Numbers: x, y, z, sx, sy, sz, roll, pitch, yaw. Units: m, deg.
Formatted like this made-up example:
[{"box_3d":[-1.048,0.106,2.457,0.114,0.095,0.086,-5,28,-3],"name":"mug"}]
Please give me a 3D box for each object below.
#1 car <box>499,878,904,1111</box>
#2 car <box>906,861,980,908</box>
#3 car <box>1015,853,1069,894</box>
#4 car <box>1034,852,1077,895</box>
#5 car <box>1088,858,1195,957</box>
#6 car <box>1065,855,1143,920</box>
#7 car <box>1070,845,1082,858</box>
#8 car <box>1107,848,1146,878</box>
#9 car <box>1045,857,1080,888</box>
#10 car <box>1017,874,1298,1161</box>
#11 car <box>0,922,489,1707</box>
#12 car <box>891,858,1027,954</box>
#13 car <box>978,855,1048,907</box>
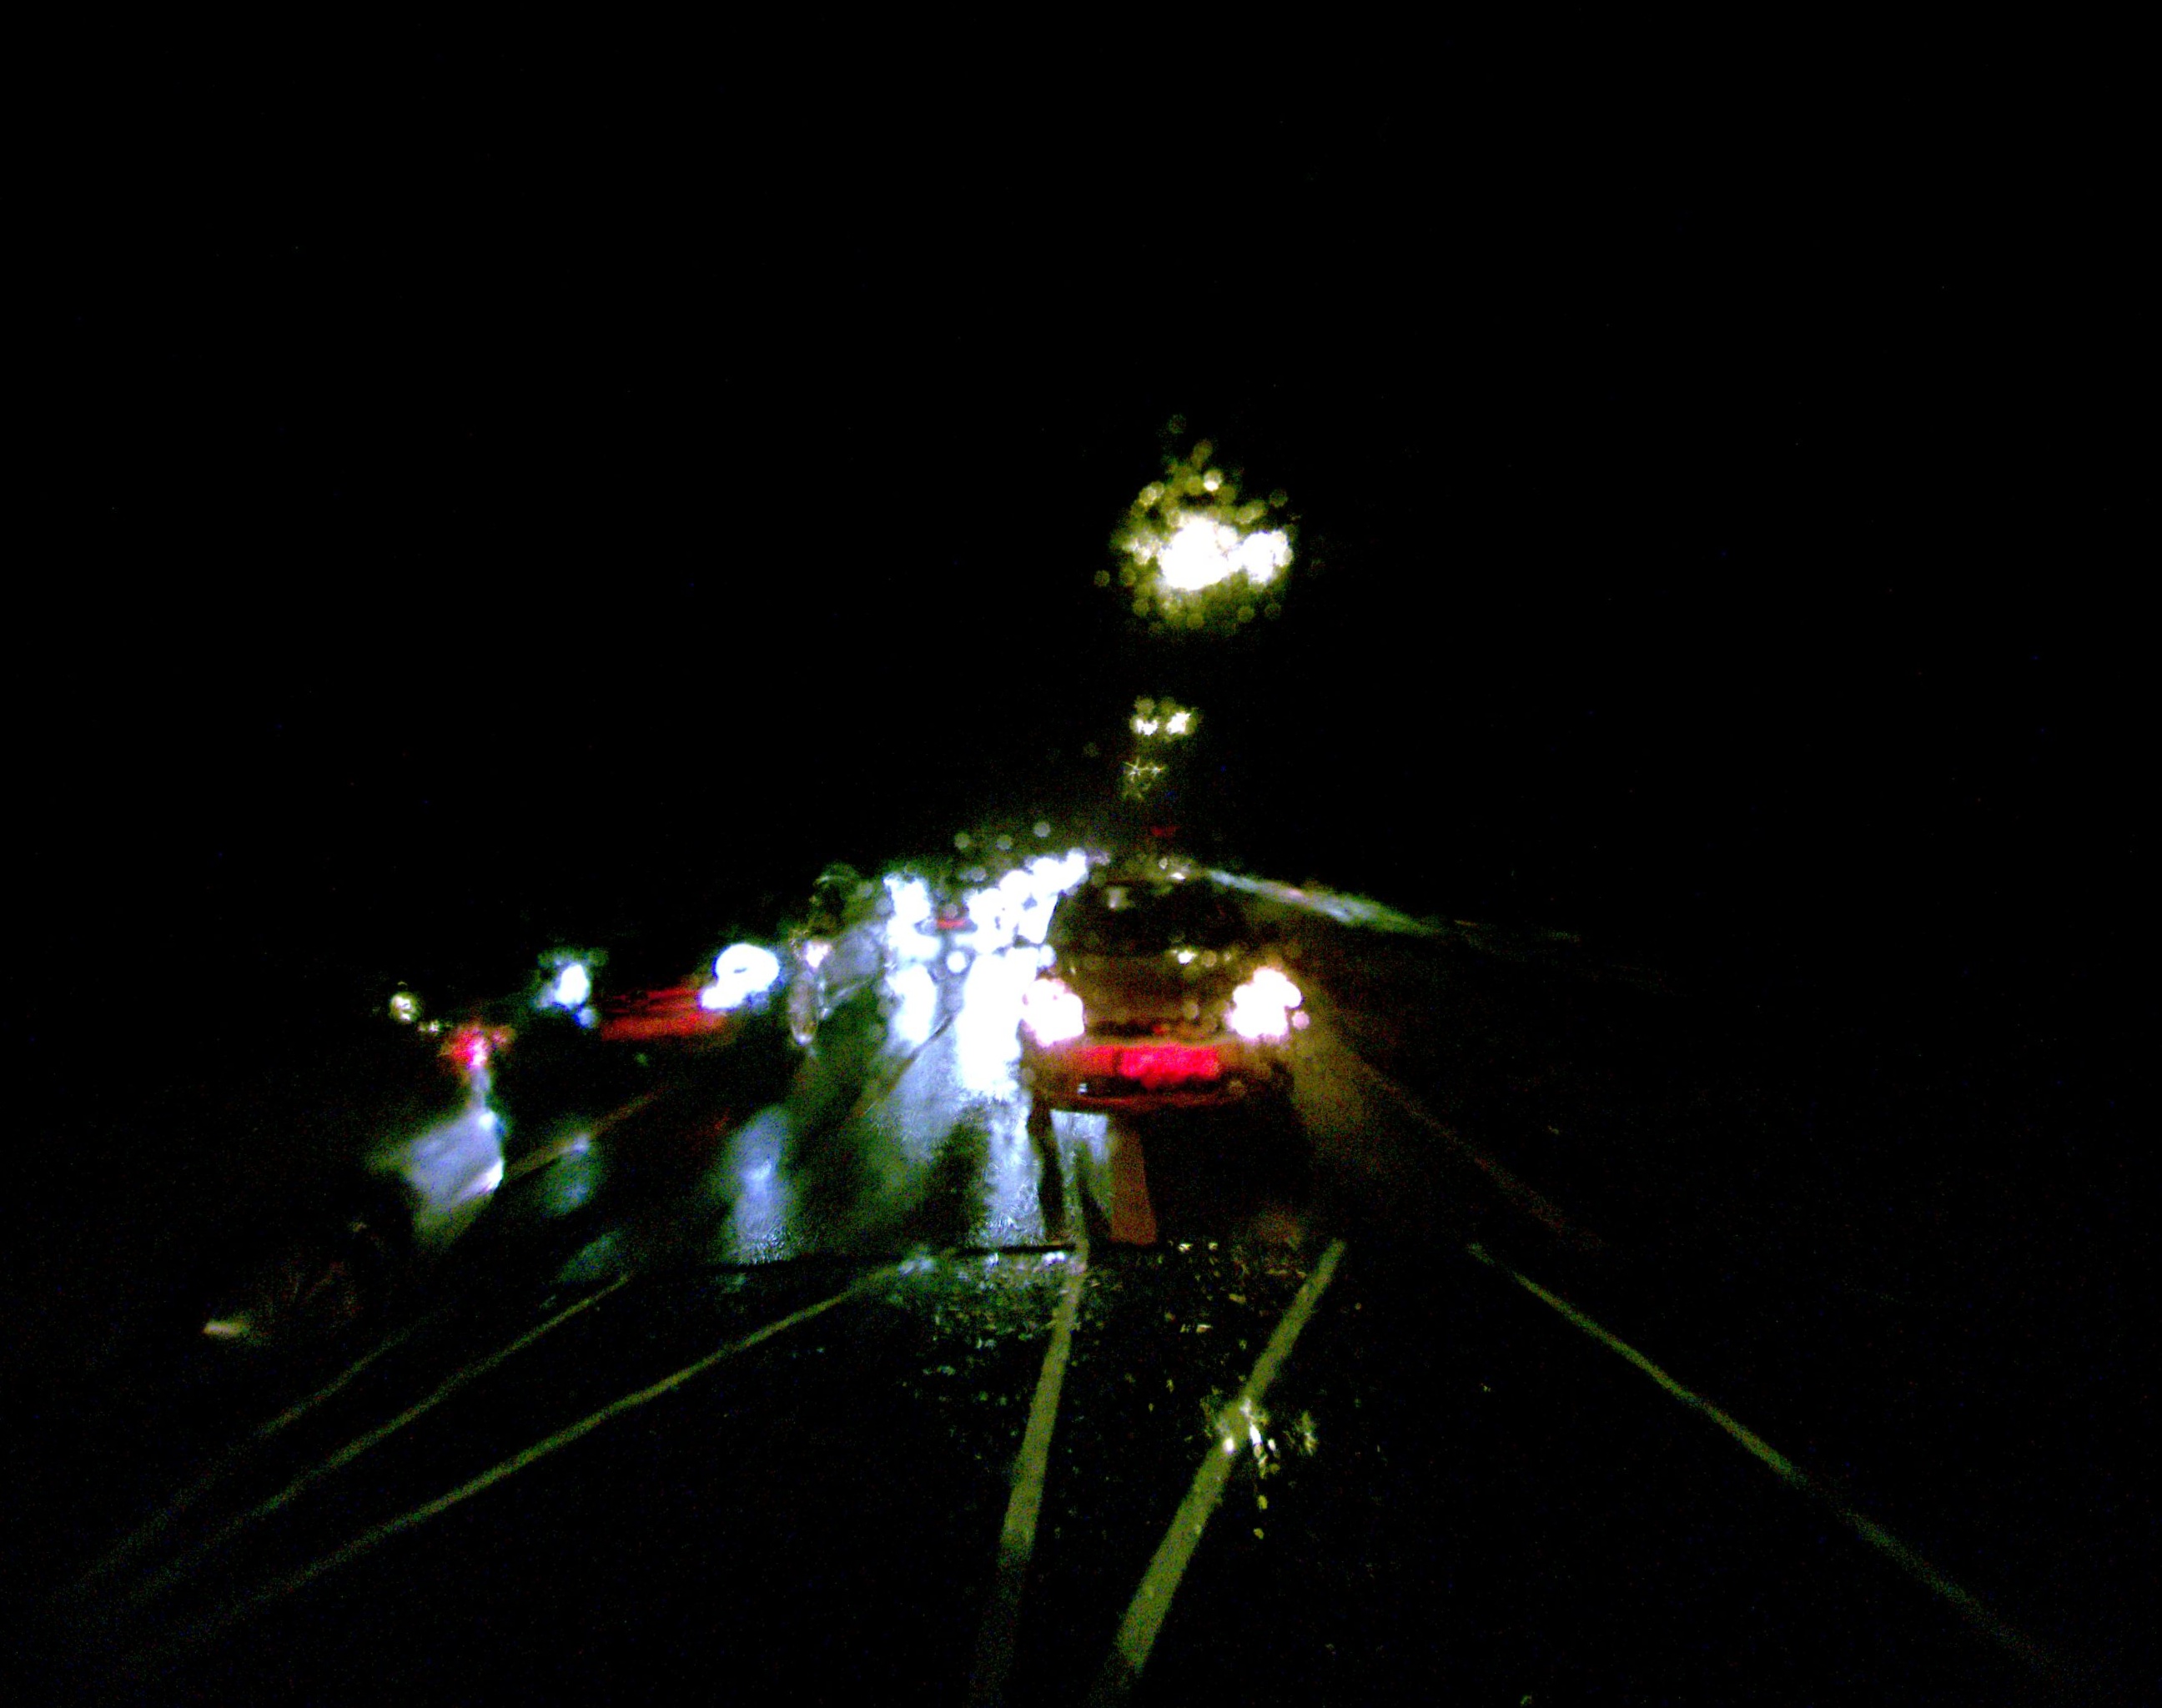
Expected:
[{"box_3d":[-3.158,1.063,7.430,1.743,1.409,4.139,-2,1,1],"name":"car"},{"box_3d":[-5.241,1.131,29.451,1.998,1.472,4.337,-4,1,0],"name":"car"},{"box_3d":[-1.610,0.792,32.955,1.998,1.589,4.391,-1,1,1],"name":"car"},{"box_3d":[-1.280,0.970,39.622,1.998,2.002,3.999,-2,1,1],"name":"car"},{"box_3d":[0.990,0.866,13.821,1.606,1.417,3.389,-4,1,1],"name":"car"},{"box_3d":[0.590,0.834,20.622,1.838,1.417,3.698,-4,1,1],"name":"car"},{"box_3d":[-0.780,-0.436,129.740,1.998,2.002,3.999,-1,1,0],"name":"car"},{"box_3d":[2.569,0.476,43.878,1.998,1.574,3.999,-2,1,1],"name":"car"},{"box_3d":[-1.123,1.124,47.746,1.998,1.789,4.000,-1,0,1],"name":"car"},{"box_3d":[0.435,0.927,5.788,1.497,1.416,3.389,-1,1,1],"name":"car"},{"box_3d":[-3.068,1.056,0.528,1.711,1.513,4.414,-2,1,1],"name":"car"},{"box_3d":[-2.291,0.918,15.532,1.998,1.589,4.391,-1,1,1],"name":"car"},{"box_3d":[-2.294,0.874,26.827,1.998,1.589,4.391,-1,1,1],"name":"car"}]
